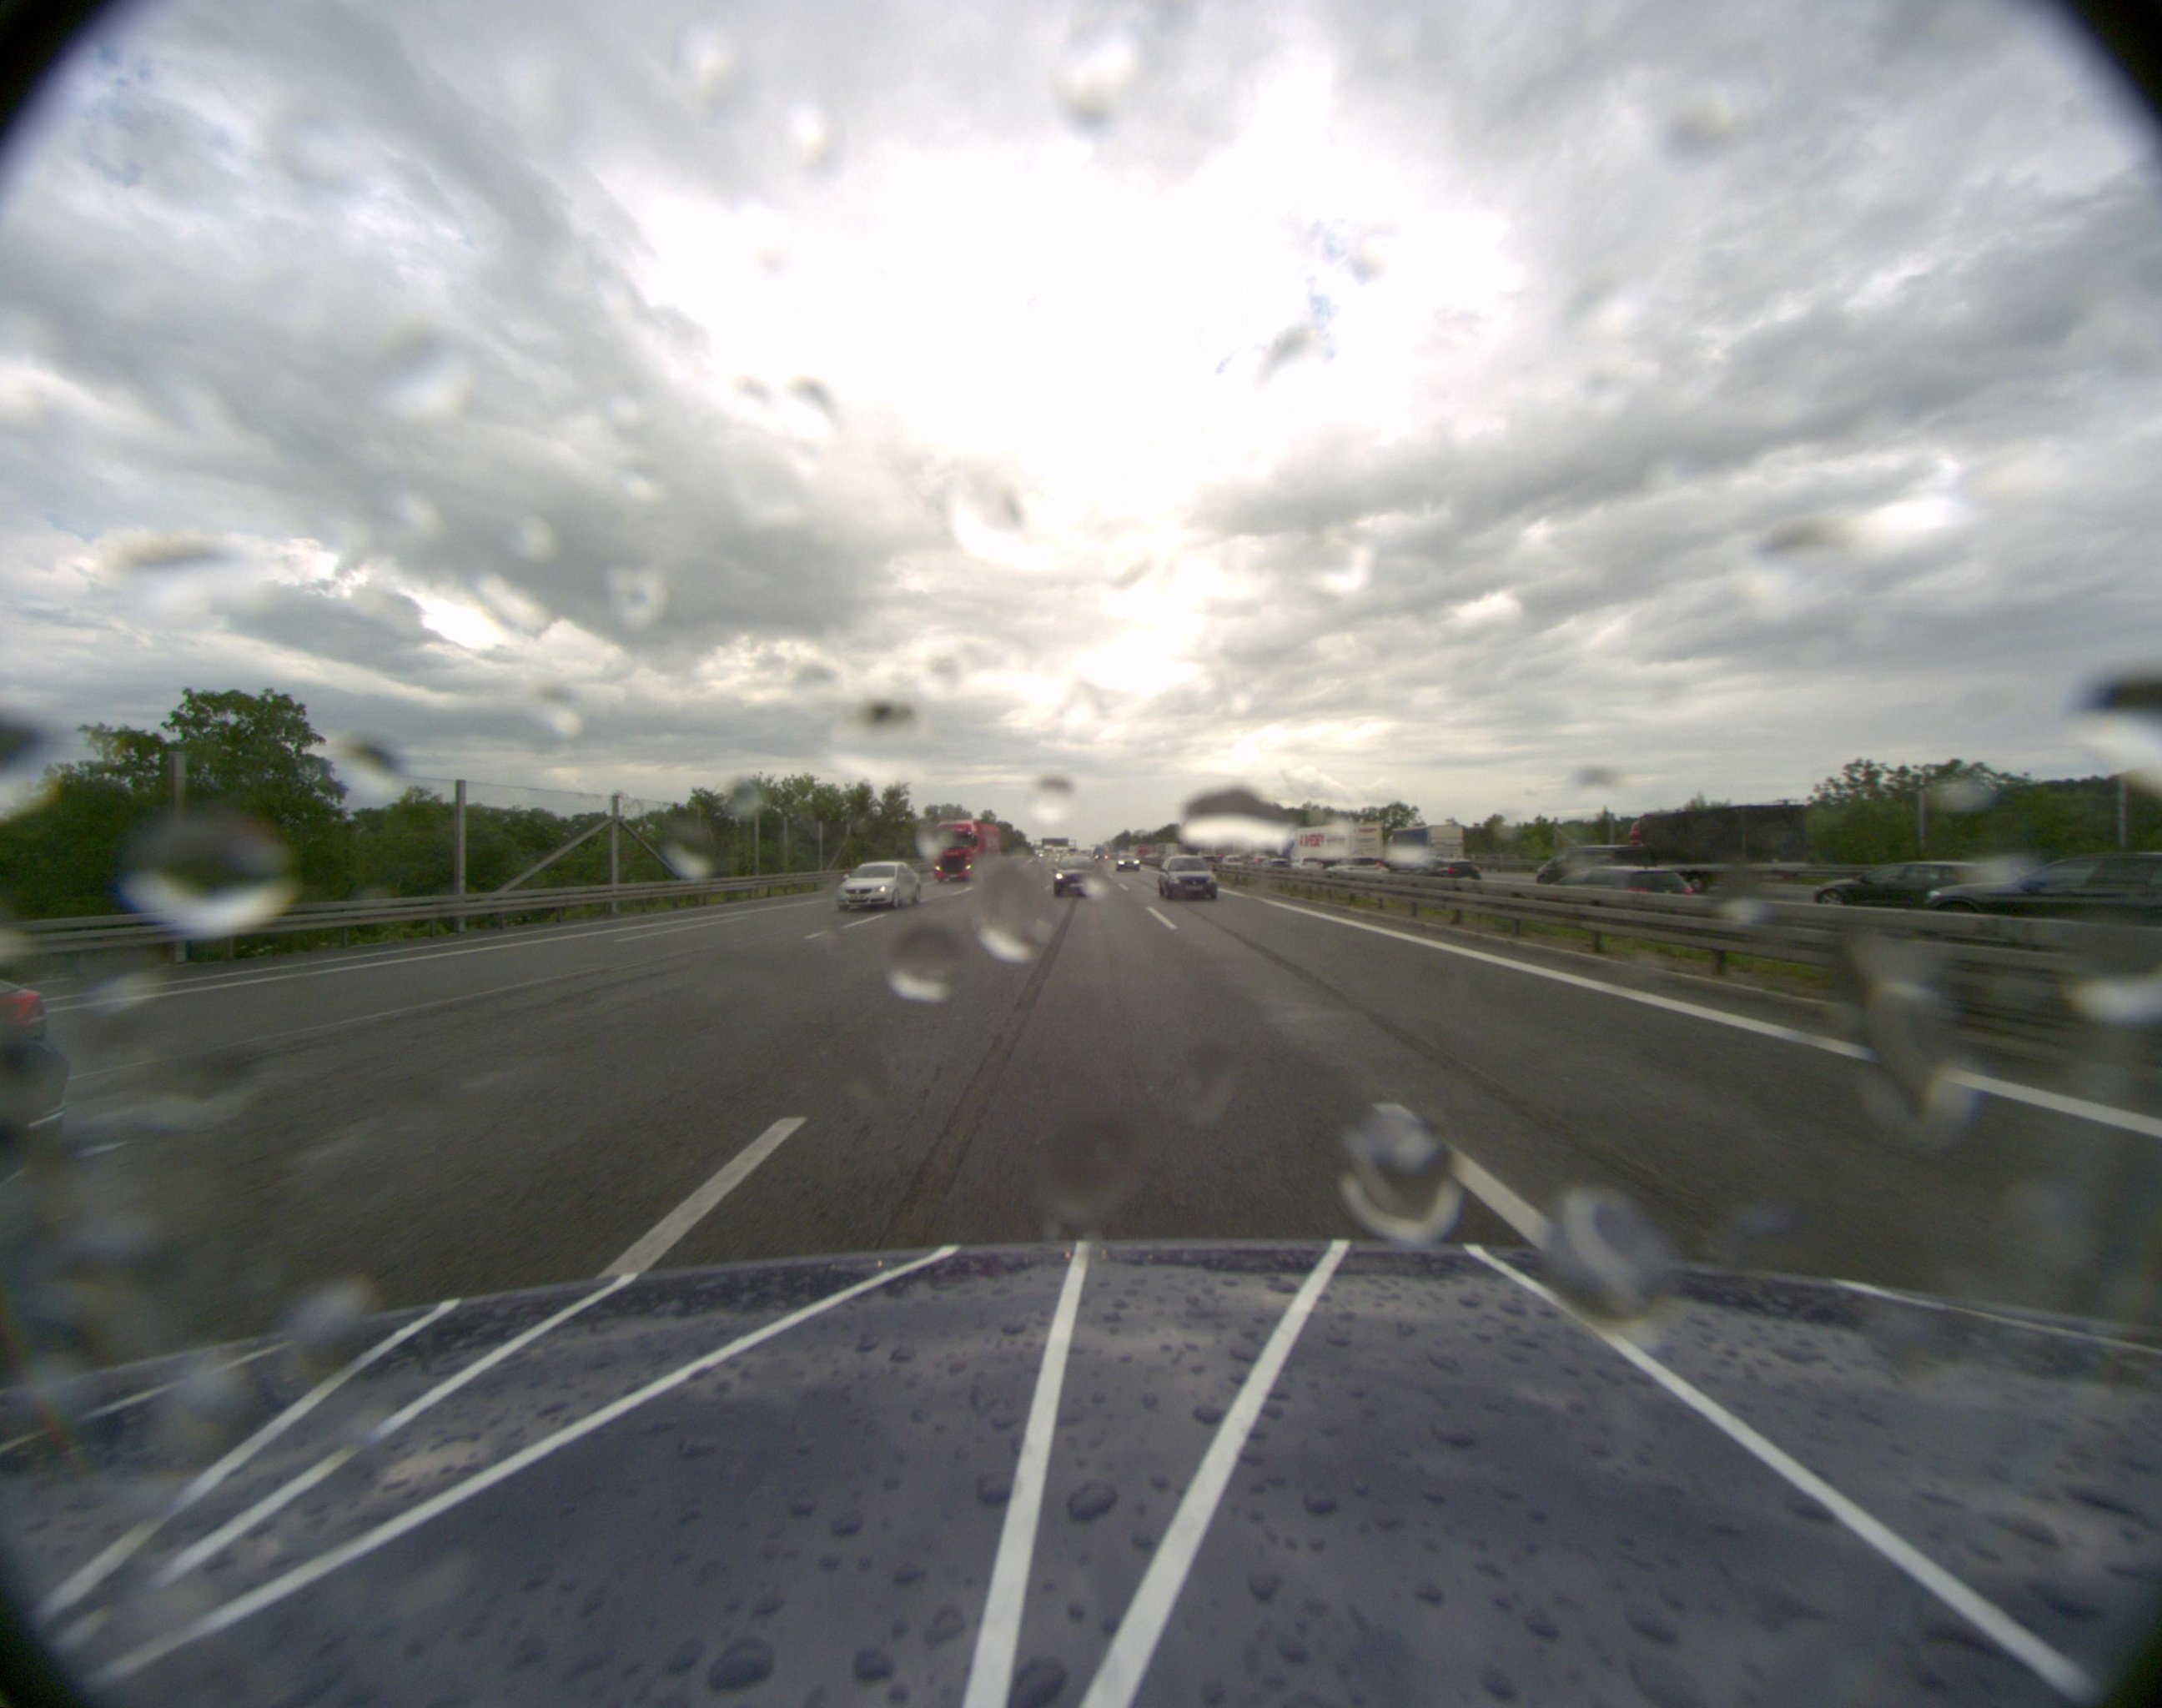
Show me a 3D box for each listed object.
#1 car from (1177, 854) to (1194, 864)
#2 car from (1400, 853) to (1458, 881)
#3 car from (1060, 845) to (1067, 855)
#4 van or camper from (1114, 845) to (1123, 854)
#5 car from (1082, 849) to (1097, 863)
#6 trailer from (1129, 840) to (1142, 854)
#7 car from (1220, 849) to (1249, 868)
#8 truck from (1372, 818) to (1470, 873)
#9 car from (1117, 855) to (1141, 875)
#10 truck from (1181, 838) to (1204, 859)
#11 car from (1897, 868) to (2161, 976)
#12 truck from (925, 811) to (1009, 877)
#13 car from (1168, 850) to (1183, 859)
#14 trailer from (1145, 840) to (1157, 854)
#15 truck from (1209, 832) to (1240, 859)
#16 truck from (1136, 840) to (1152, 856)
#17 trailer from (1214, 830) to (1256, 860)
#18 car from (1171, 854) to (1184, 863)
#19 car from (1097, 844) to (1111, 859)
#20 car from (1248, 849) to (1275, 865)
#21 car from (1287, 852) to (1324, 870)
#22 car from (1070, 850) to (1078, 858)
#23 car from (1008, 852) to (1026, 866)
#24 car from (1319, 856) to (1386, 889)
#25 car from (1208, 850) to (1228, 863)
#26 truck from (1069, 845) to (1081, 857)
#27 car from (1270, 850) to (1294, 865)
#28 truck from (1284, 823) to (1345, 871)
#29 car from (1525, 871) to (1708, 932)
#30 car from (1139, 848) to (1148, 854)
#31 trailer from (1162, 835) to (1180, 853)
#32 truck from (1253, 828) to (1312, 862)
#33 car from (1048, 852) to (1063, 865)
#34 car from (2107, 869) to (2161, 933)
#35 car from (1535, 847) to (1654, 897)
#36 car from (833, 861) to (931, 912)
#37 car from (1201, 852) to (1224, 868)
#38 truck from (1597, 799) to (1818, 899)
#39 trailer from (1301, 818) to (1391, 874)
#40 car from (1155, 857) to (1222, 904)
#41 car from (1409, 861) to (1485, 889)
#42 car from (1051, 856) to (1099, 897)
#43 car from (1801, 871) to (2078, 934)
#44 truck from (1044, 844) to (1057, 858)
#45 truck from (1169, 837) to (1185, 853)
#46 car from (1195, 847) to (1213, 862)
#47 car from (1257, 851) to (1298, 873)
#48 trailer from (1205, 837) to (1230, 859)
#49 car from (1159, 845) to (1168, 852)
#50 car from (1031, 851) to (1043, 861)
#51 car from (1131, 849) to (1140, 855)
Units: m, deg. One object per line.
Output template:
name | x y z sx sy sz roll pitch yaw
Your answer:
car | 13.911 0.679 101.419 1.724 1.346 4.625 0 0 0
car | 20.594 0.738 45.157 1.649 1.554 4.105 0 0 1
car | -4.887 -1.114 212.444 2.037 2.587 4.513 0 0 -2
van or camper | 11.146 -1.320 228.671 2.284 2.481 7.301 0 0 -1
car | 1.182 0.236 105.579 2.134 1.831 4.000 0 0 0
trailer | 16.297 -2.067 228.050 2.888 4.121 13.026 0 0 -1
car | 13.786 0.382 68.350 1.797 1.609 4.000 -1 0 1
truck | 26.076 -0.576 58.991 2.906 3.817 10.757 0 0 1
car | 3.945 0.904 63.211 1.751 1.489 4.015 -1 1 1
truck | 18.303 -0.823 125.149 2.526 3.379 8.540 0 0 0
car | 17.501 1.070 12.844 1.887 1.589 5.135 0 0 0
truck | -7.744 -0.583 54.404 3.160 3.980 15.638 -1 0 2
car | 14.281 0.127 115.250 1.724 1.346 4.534 0 0 0
trailer | 21.184 -2.177 230.547 2.888 4.121 13.028 0 0 1
truck | 21.650 -1.211 115.129 3.207 3.910 7.573 -2 0 0
truck | 17.127 -1.633 207.759 2.992 4.124 12.521 0 0 -1
trailer | 21.666 -1.245 107.695 3.252 3.910 13.015 -2 0 0
car | 17.629 0.801 138.656 1.724 1.690 5.055 0 0 0
car | 3.773 -0.459 126.091 1.999 2.354 4.171 -2 0 -1
car | 18.132 0.255 76.612 1.649 1.494 4.676 -1 0 1
car | 18.027 0.522 61.169 1.649 1.399 4.543 -1 0 1
car | -1.907 -0.031 210.216 1.999 2.002 3.507 -2 0 -2
car | -7.377 0.592 88.225 1.820 1.534 4.357 -1 0 -2
car | 14.386 0.928 40.561 1.877 1.638 4.722 0 0 0
car | 18.339 0.346 101.610 1.826 1.614 4.698 0 0 0
truck | -2.082 -0.886 257.431 2.959 3.777 12.322 -2 0 -5
car | 22.116 0.387 83.821 1.649 1.536 4.000 0 0 1
truck | 21.560 -0.573 70.681 3.186 4.169 7.737 0 0 0
car | 13.326 1.125 19.264 1.707 1.281 4.187 0 0 0
car | 14.103 -0.661 172.070 1.577 1.346 4.384 0 0 0
trailer | 21.317 -2.236 180.809 2.825 4.037 11.602 -2 0 0
truck | 25.569 -0.996 97.625 2.655 3.997 17.746 0 0 0
car | -3.551 0.609 105.038 1.962 1.831 3.999 0 0 -1
car | 25.421 1.068 16.234 1.587 1.418 4.003 0 0 0
car | 20.724 0.686 30.937 1.587 1.879 4.820 0 0 0
car | -6.307 0.975 24.600 1.898 1.438 4.246 -1 0 2
car | 14.183 0.661 82.305 1.797 1.609 4.284 0 0 1
truck | 24.759 -0.148 30.703 2.470 3.516 7.807 0 0 0
trailer | 21.576 -0.569 62.864 3.195 4.169 11.956 0 0 0
car | 3.595 0.831 26.108 1.781 1.399 5.017 -1 0 3
car | 17.838 0.973 37.236 1.707 1.281 4.187 0 0 0
car | -0.169 0.818 29.567 1.668 1.431 4.405 -1 1 1
car | 20.568 1.091 18.572 1.587 1.274 4.602 0 0 0
truck | -9.107 -0.881 222.094 3.256 3.884 12.309 -2 0 -4
truck | 25.072 -2.311 199.698 2.727 3.958 11.693 0 0 0
car | 18.164 0.073 112.362 1.826 2.040 5.675 0 0 0
car | 13.497 0.519 52.463 1.649 1.432 4.729 -1 0 1
trailer | 26.348 -1.123 147.475 3.227 3.936 8.849 -2 0 0
car | 22.093 -1.548 203.575 1.998 1.820 4.000 -1 0 1
car | -7.042 0.333 122.273 1.782 1.438 4.587 -1 0 -2
car | 13.626 -0.419 190.392 1.836 1.443 4.000 -1 0 0
